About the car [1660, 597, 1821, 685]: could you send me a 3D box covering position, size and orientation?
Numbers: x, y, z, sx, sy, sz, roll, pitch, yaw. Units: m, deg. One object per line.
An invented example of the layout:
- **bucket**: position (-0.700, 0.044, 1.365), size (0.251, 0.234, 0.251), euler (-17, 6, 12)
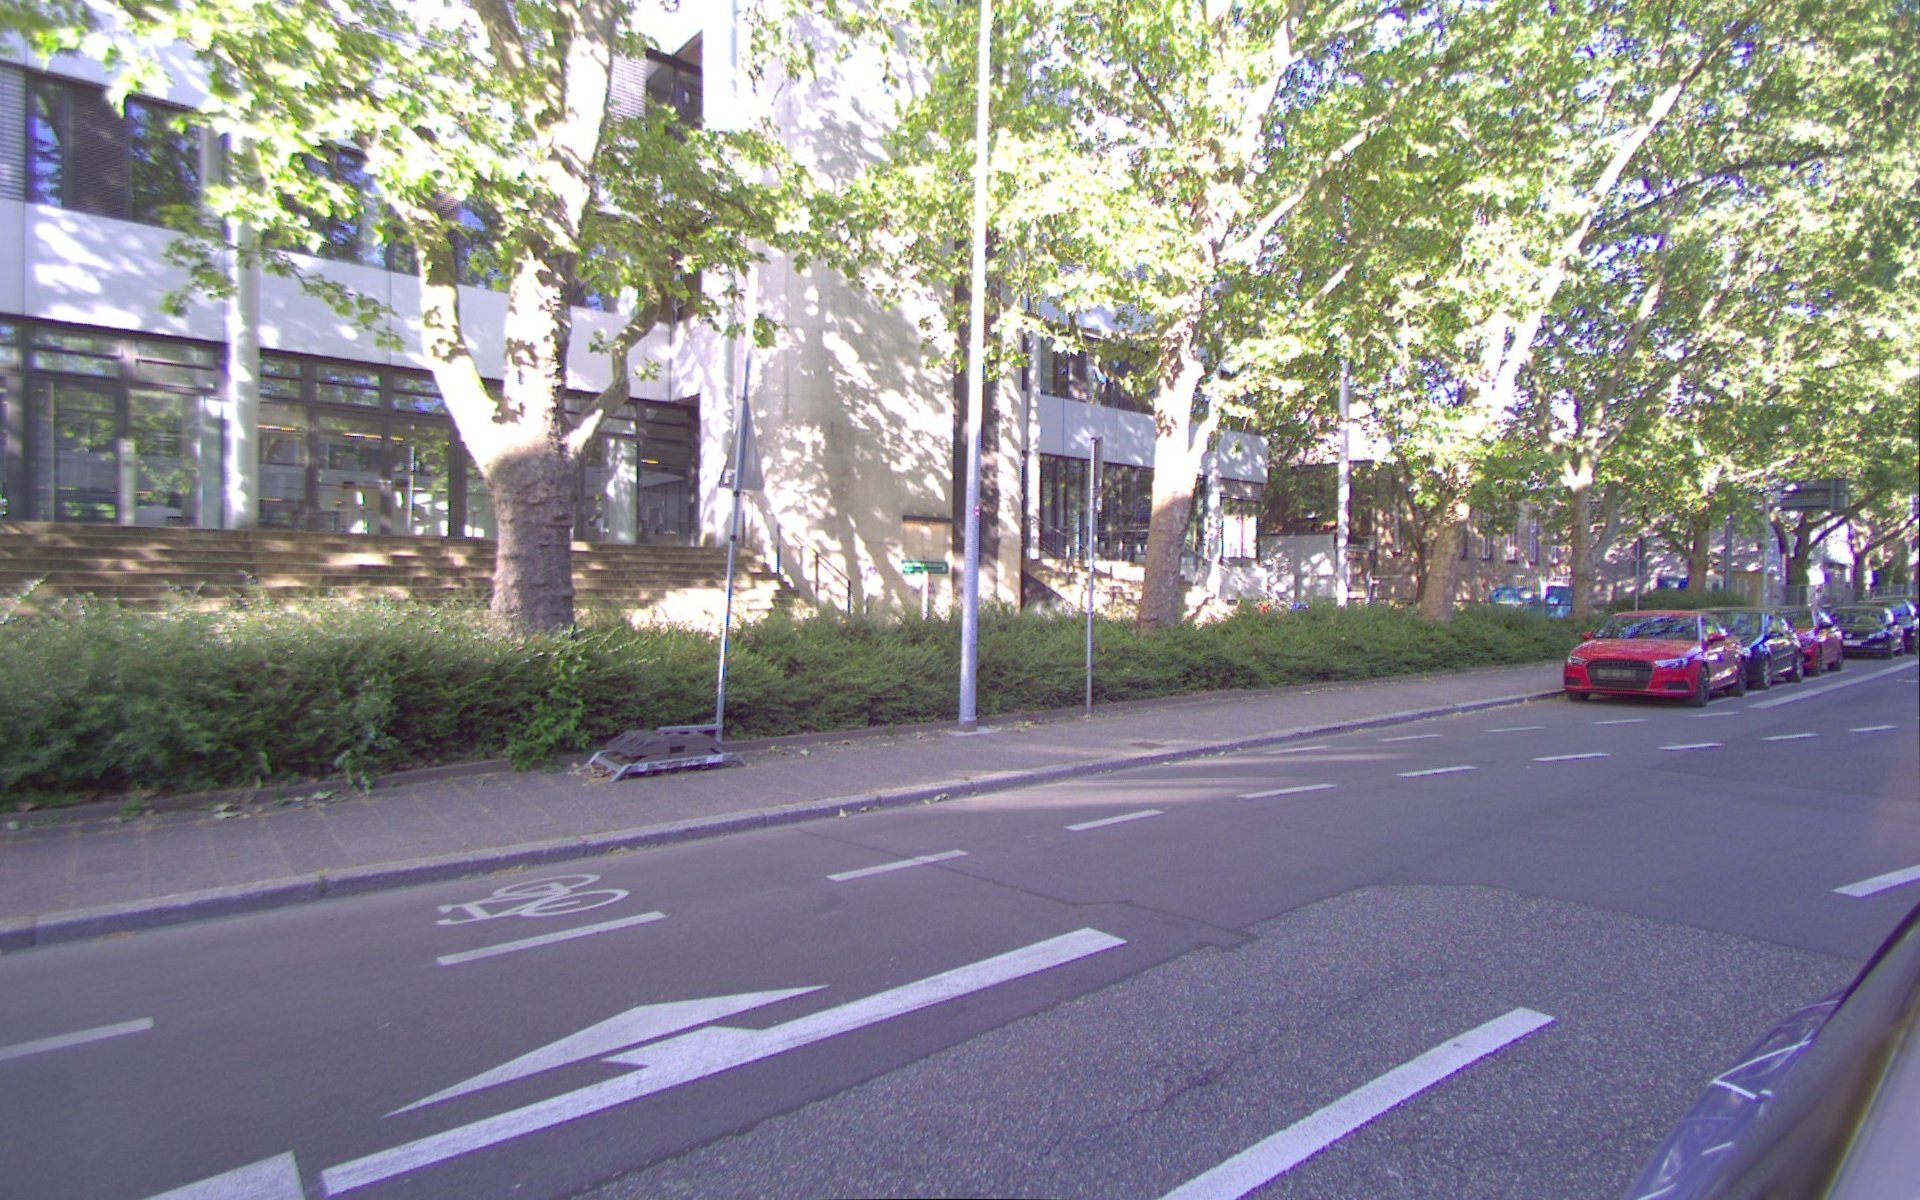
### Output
- **car**: position (14.819, 0.704, 19.149), size (3.930, 1.485, 1.684), euler (0, 0, -41)

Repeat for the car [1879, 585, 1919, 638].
- **car**: position (33.978, 0.390, 35.713), size (4.354, 1.790, 1.818), euler (0, 1, -41)

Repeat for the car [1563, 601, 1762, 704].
- **car**: position (11.254, 0.755, 16.122), size (3.962, 1.439, 1.722), euler (0, -2, -42)

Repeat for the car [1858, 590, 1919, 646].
- **car**: position (29.524, 0.523, 31.657), size (3.770, 1.640, 1.684), euler (0, 1, -41)

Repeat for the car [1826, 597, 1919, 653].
- **car**: position (26.023, 0.654, 28.704), size (3.930, 1.469, 1.684), euler (0, 1, -41)

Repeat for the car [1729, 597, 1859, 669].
- **car**: position (18.620, 0.675, 22.544), size (3.715, 1.452, 1.664), euler (0, 1, -41)

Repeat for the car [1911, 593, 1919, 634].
- **car**: position (38.716, 0.510, 39.730), size (3.801, 1.581, 1.684), euler (0, 1, -41)
